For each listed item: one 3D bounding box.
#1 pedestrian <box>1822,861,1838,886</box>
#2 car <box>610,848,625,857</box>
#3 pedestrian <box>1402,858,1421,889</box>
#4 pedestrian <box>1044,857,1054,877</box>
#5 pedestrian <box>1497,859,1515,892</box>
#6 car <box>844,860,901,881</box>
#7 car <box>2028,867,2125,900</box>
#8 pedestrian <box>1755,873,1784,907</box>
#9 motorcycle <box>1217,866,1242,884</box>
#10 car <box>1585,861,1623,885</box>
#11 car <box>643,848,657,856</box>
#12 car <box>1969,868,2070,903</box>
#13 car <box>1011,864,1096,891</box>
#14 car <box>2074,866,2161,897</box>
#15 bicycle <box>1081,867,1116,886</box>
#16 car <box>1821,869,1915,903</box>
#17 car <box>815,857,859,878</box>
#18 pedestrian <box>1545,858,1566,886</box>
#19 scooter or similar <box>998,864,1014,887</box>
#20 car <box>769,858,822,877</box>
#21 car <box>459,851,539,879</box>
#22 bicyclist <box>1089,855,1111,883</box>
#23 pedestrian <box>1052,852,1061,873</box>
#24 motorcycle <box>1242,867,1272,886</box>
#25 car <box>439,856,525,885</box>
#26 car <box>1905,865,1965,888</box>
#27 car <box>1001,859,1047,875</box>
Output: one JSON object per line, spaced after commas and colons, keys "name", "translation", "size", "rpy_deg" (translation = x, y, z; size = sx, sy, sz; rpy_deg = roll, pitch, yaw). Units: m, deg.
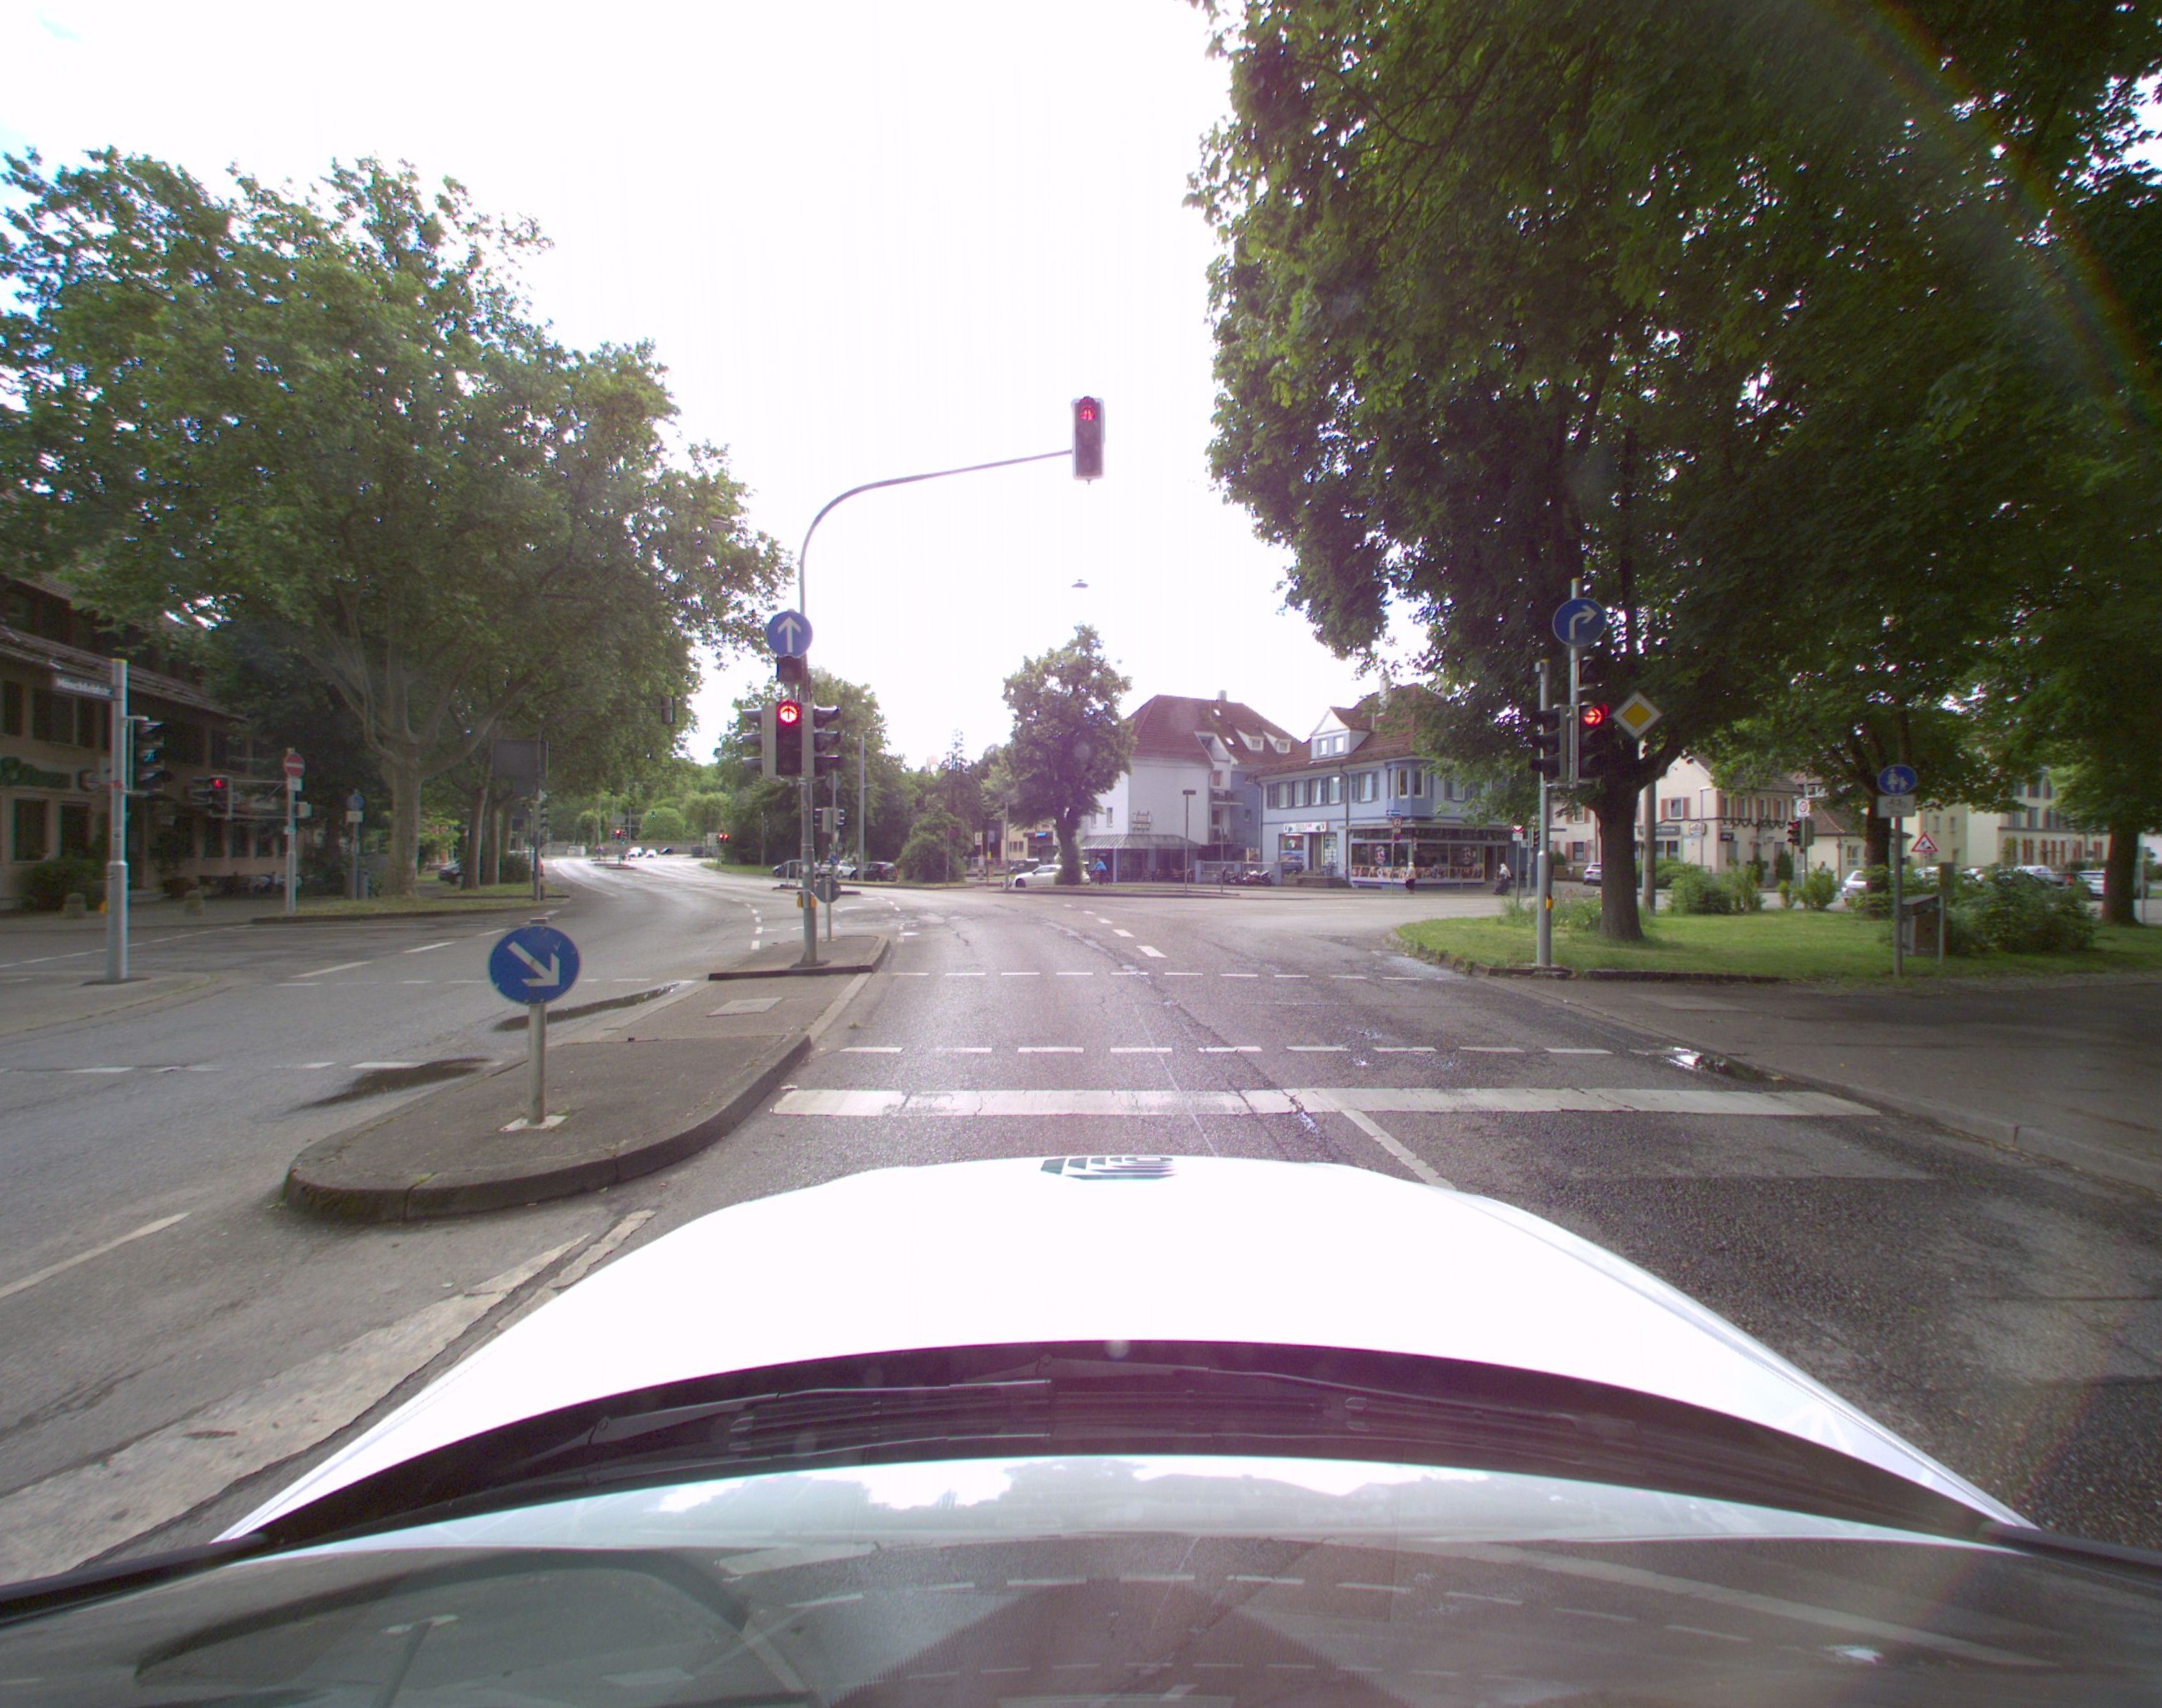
{"name": "pedestrian", "translation": [47.310, 1.255, 51.426], "size": [0.504, 1.560, 0.507], "rpy_deg": [0, -1, -13]}
{"name": "car", "translation": [-87.129, -0.260, 153.011], "size": [3.293, 1.486, 1.594], "rpy_deg": [-1, -2, 43]}
{"name": "pedestrian", "translation": [16.585, 0.975, 40.908], "size": [0.724, 1.560, 0.773], "rpy_deg": [-1, -1, 33]}
{"name": "pedestrian", "translation": [-3.199, 1.299, 80.939], "size": [0.838, 2.014, 1.051], "rpy_deg": [0, -1, -12]}
{"name": "pedestrian", "translation": [20.264, 1.010, 38.806], "size": [0.687, 1.560, 0.671], "rpy_deg": [-1, -1, 33]}
{"name": "car", "translation": [-13.827, 1.057, 54.003], "size": [3.285, 1.352, 1.791], "rpy_deg": [0, 0, 29]}
{"name": "car", "translation": [47.079, 1.372, 38.520], "size": [3.731, 1.457, 1.640], "rpy_deg": [0, 0, -17]}
{"name": "pedestrian", "translation": [22.782, 1.189, 26.937], "size": [0.505, 1.081, 0.514], "rpy_deg": [0, -1, -13]}
{"name": "motorcycle", "translation": [9.134, 1.309, 50.050], "size": [1.441, 1.088, 0.527], "rpy_deg": [-1, -1, 37]}
{"name": "car", "translation": [32.457, 1.142, 50.624], "size": [1.866, 1.391, 3.637], "rpy_deg": [0, 0, 31]}
{"name": "car", "translation": [-83.209, -0.437, 157.248], "size": [2.988, 1.417, 1.509], "rpy_deg": [-1, -2, 43]}
{"name": "car", "translation": [42.345, 1.380, 36.757], "size": [3.731, 1.457, 1.640], "rpy_deg": [0, 0, -17]}
{"name": "car", "translation": [-1.596, 1.287, 45.935], "size": [4.654, 1.410, 1.914], "rpy_deg": [0, -1, 37]}
{"name": "car", "translation": [52.595, 1.371, 41.258], "size": [3.731, 1.457, 1.640], "rpy_deg": [0, 0, -17]}
{"name": "bicycle", "translation": [1.059, 1.365, 49.433], "size": [1.927, 1.149, 0.882], "rpy_deg": [0, -1, 35]}
{"name": "car", "translation": [31.922, 1.269, 33.042], "size": [3.007, 1.267, 1.455], "rpy_deg": [0, -1, -17]}
{"name": "car", "translation": [-20.136, 1.087, 67.409], "size": [1.848, 1.640, 3.768], "rpy_deg": [0, 0, 13]}
{"name": "pedestrian", "translation": [26.465, 0.986, 45.407], "size": [0.671, 1.560, 0.743], "rpy_deg": [0, -1, -13]}
{"name": "scooter or similar", "translation": [-3.953, 1.141, 42.848], "size": [0.439, 1.175, 1.442], "rpy_deg": [-1, -1, 11]}
{"name": "car", "translation": [-22.591, 1.029, 64.517], "size": [3.742, 1.465, 1.629], "rpy_deg": [0, 0, 20]}
{"name": "car", "translation": [-36.461, 0.682, 51.177], "size": [4.015, 1.684, 1.979], "rpy_deg": [0, -1, -34]}
{"name": "bicyclist", "translation": [1.169, 0.900, 49.372], "size": [0.976, 1.651, 0.924], "rpy_deg": [-1, -1, 36]}
{"name": "pedestrian", "translation": [-1.775, 0.617, 59.378], "size": [0.538, 1.560, 0.470], "rpy_deg": [-1, -1, 15]}
{"name": "motorcycle", "translation": [10.427, 1.320, 48.247], "size": [1.609, 1.088, 0.631], "rpy_deg": [-1, -1, 34]}
{"name": "car", "translation": [-35.631, 0.957, 48.608], "size": [4.015, 1.684, 1.979], "rpy_deg": [0, -1, -34]}
{"name": "car", "translation": [56.370, 1.473, 53.778], "size": [3.871, 1.447, 1.753], "rpy_deg": [0, -1, -28]}
{"name": "car", "translation": [-5.322, 1.236, 75.919], "size": [3.948, 1.442, 1.742], "rpy_deg": [0, 0, -18]}
